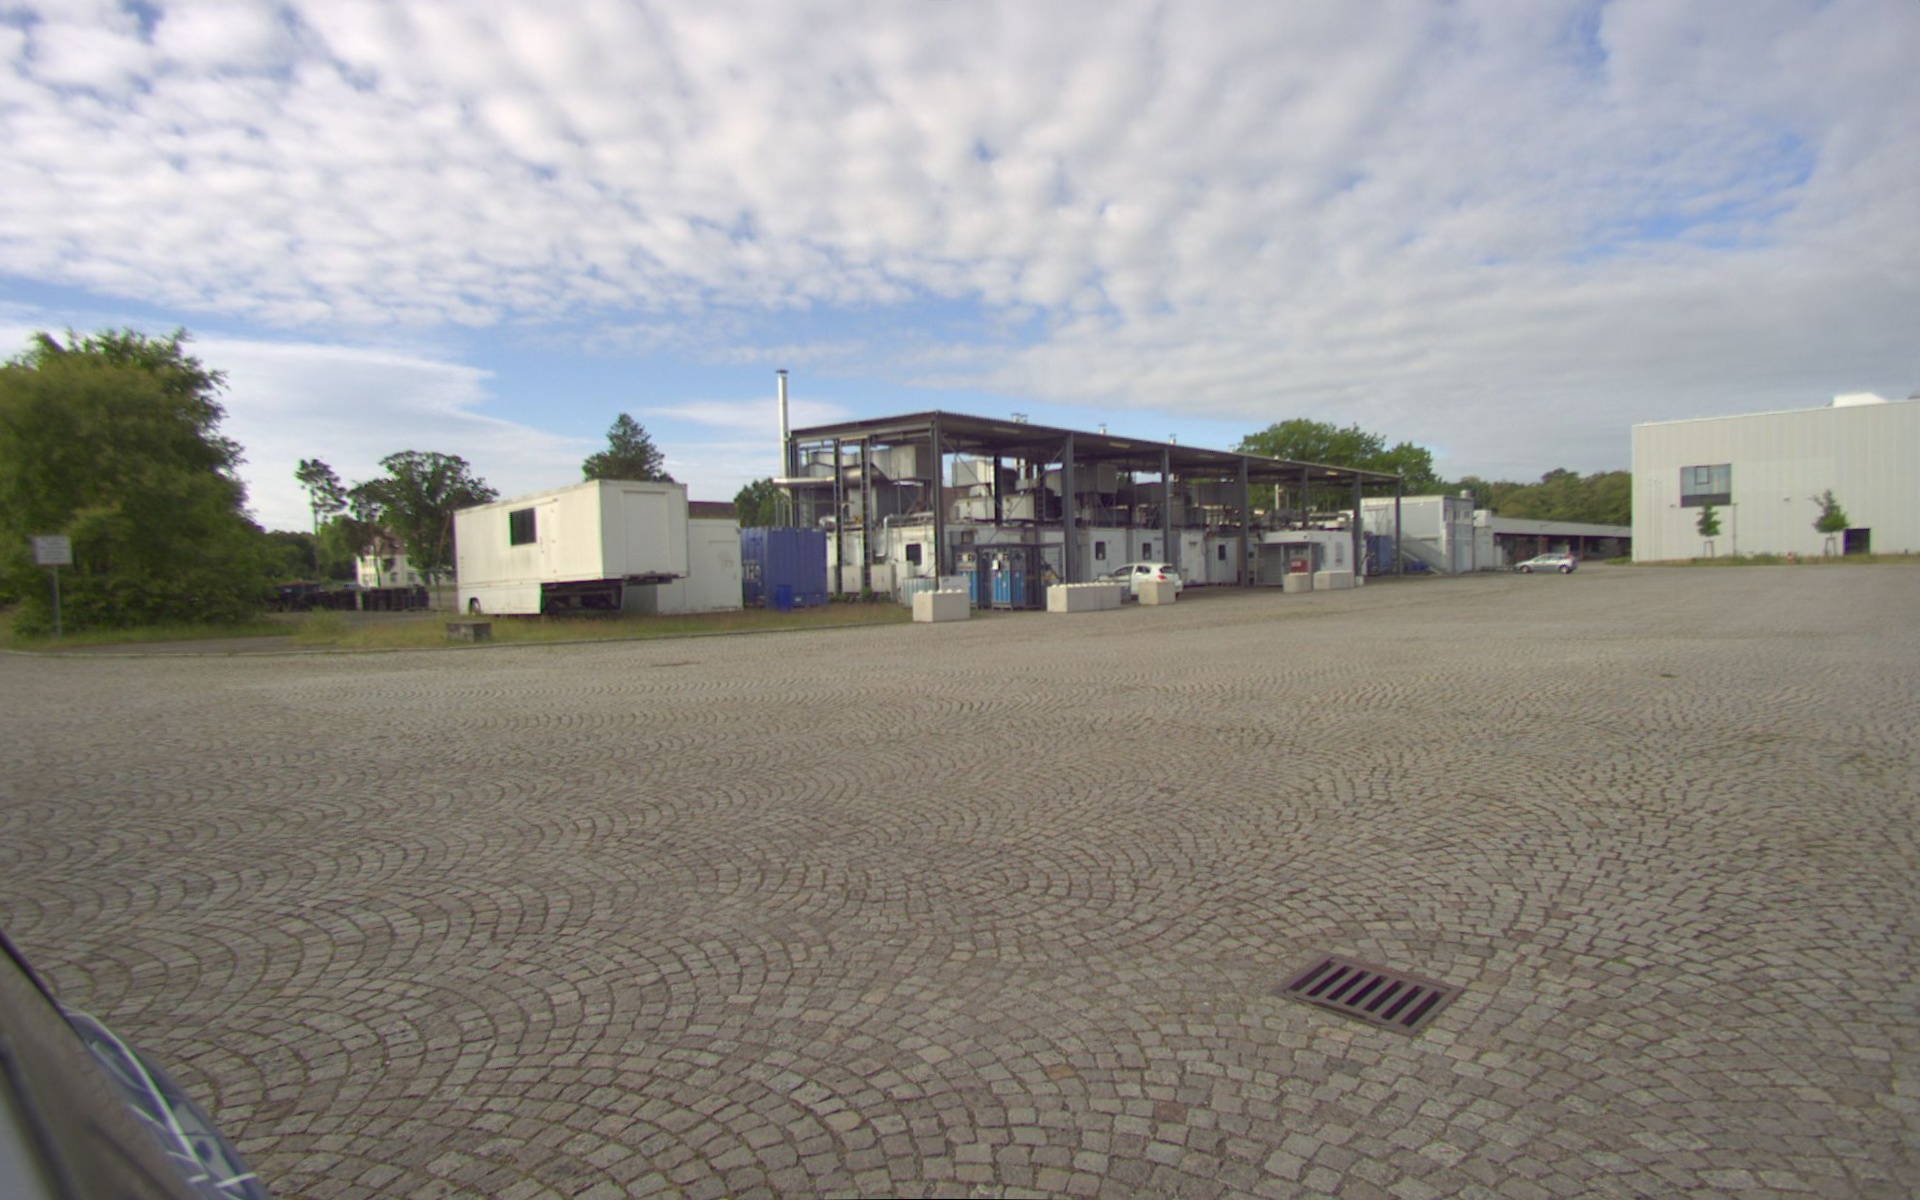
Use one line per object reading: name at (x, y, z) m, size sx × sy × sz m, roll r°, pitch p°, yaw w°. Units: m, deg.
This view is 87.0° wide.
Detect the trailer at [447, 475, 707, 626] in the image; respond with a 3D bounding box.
trailer at (-11.521, -1.232, 29.522) m, size 2.836 × 3.689 × 10.783 m, roll -3°, pitch 2°, yaw -45°

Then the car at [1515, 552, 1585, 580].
car at (44.483, -2.561, 76.370) m, size 4.305 × 1.961 × 1.974 m, roll 0°, pitch 2°, yaw 40°

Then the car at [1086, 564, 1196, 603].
car at (7.303, -0.640, 40.918) m, size 3.997 × 1.484 × 1.908 m, roll 0°, pitch 0°, yaw 40°
